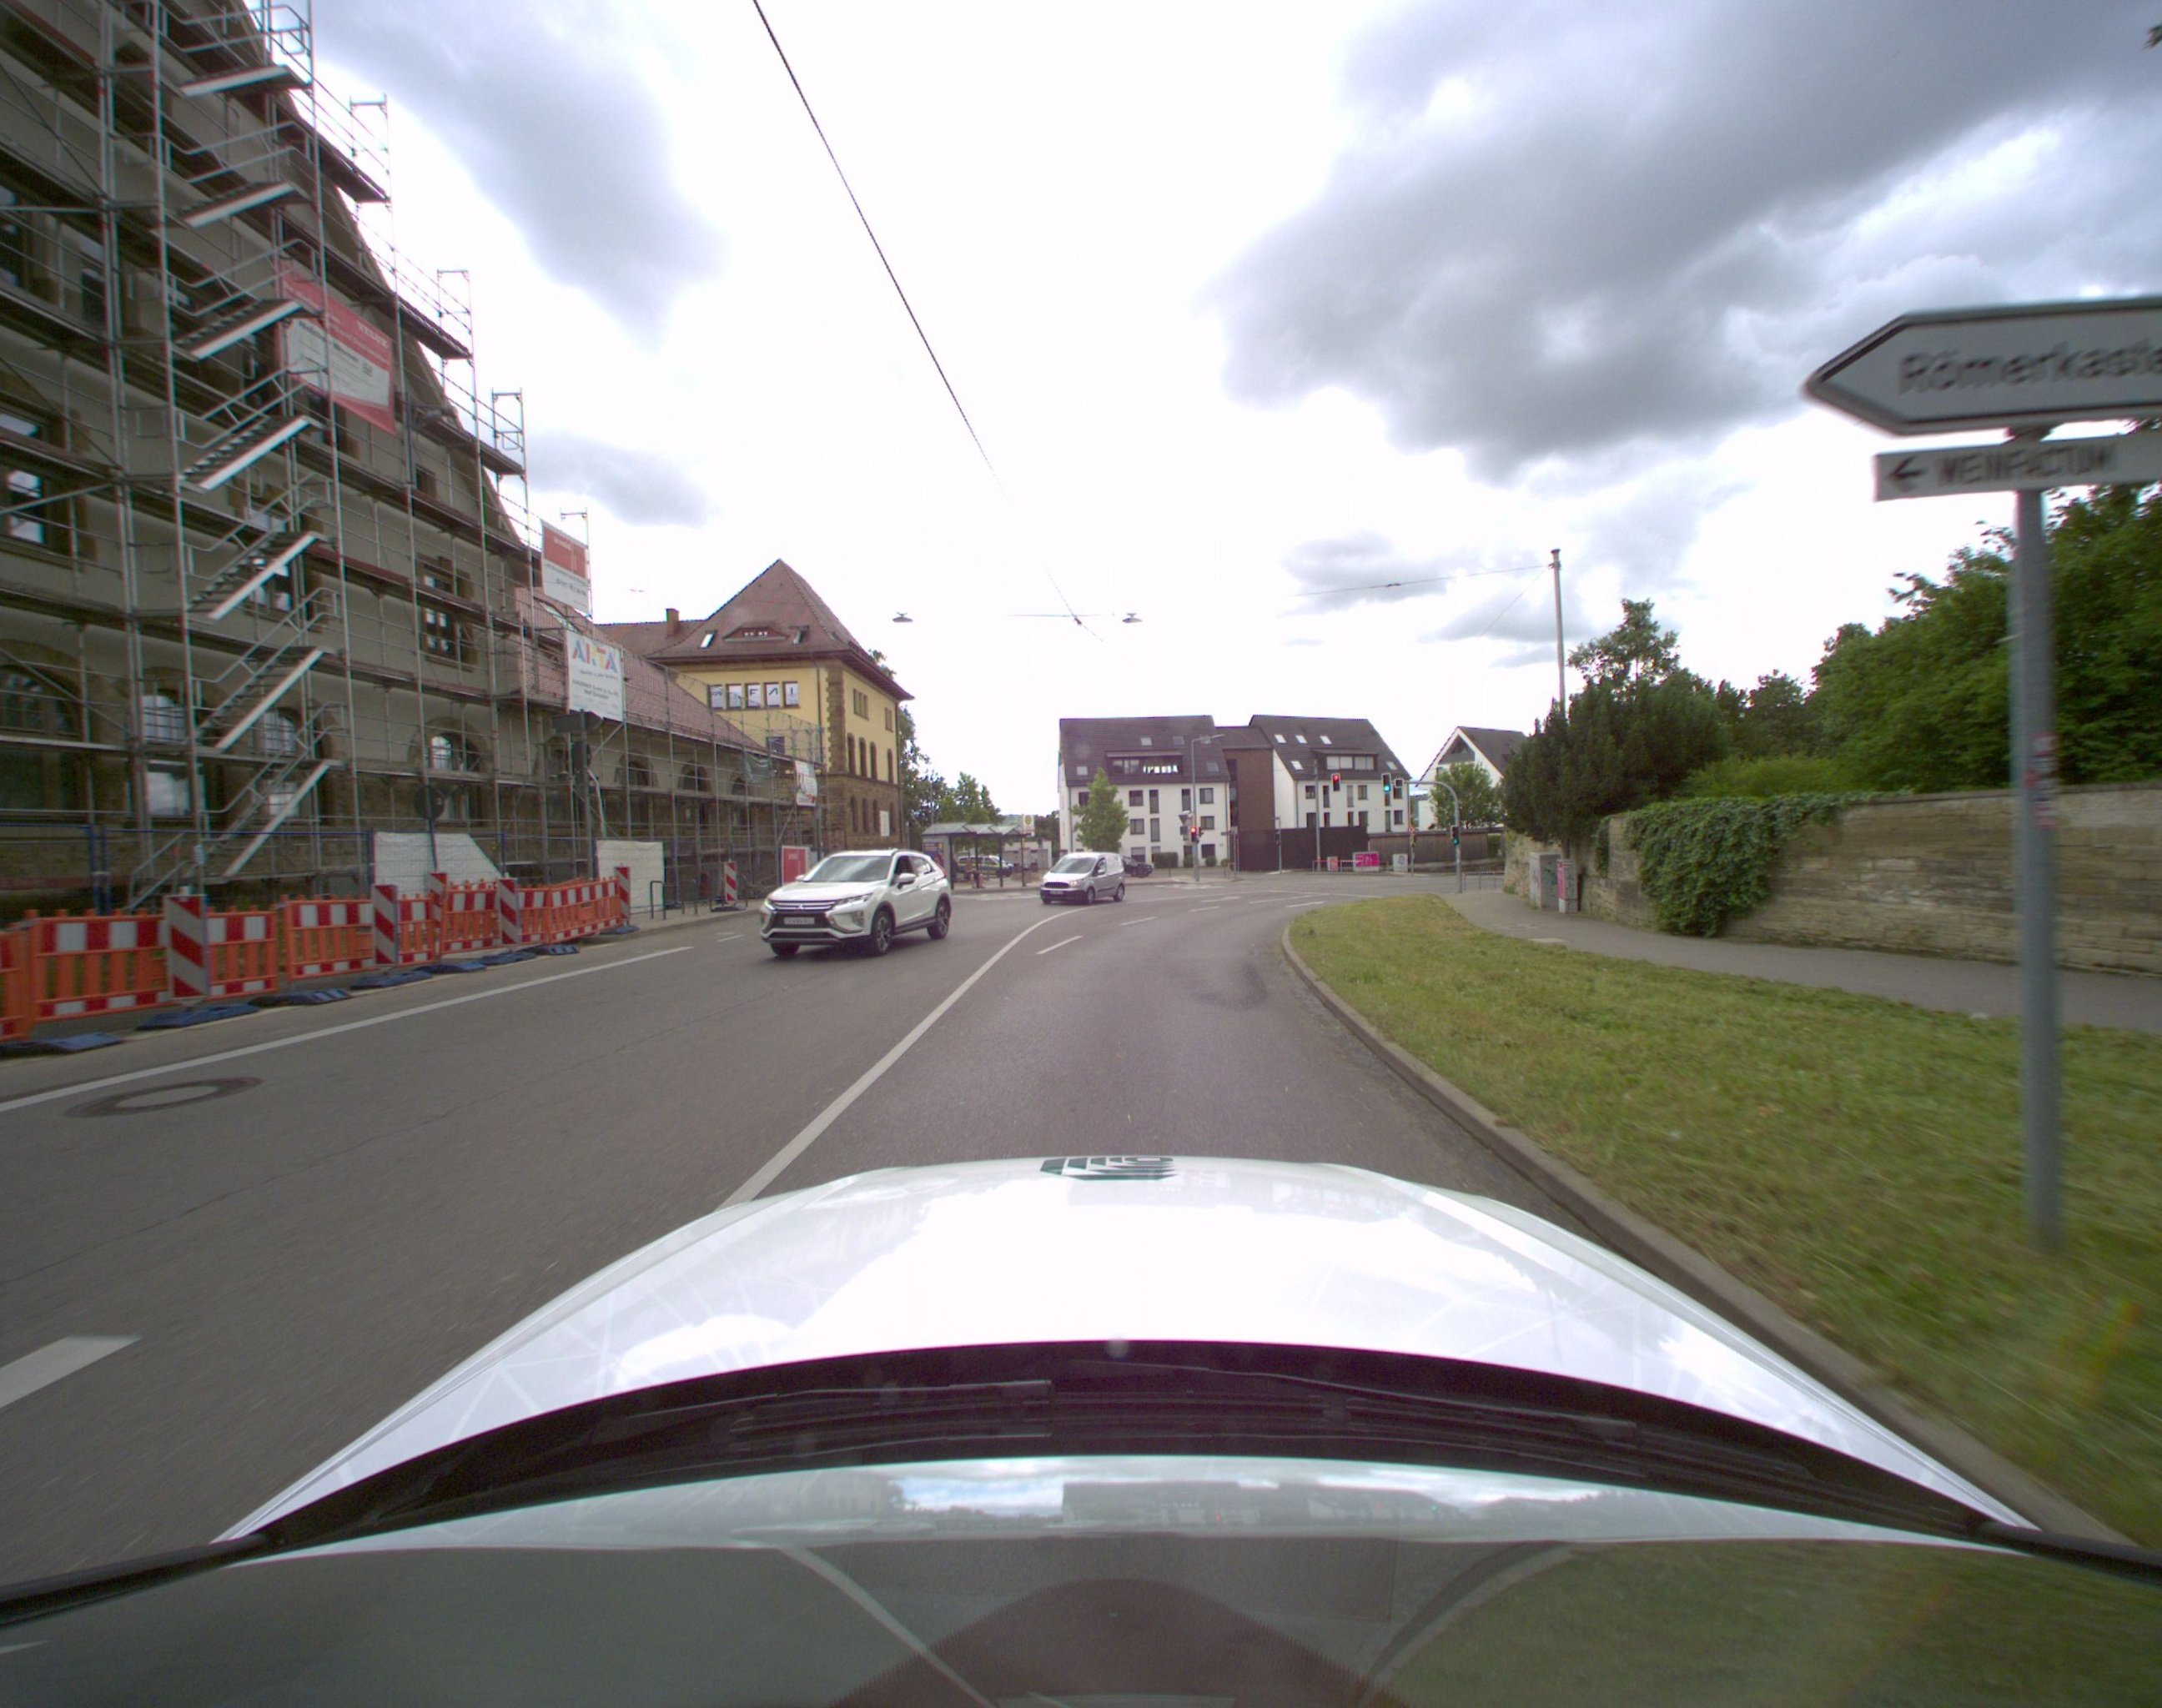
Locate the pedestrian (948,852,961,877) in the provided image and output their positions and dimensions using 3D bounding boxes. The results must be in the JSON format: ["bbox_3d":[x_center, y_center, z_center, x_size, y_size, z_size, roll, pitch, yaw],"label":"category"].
[{"bbox_3d":[-8.102,0.683,52.140,0.534,1.577,0.656,0,-1,16],"label":"pedestrian"}]

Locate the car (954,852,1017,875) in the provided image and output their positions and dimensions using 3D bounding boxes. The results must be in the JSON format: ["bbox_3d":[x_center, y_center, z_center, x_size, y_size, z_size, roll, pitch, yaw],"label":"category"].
[{"bbox_3d":[-8.236,0.808,70.482,5.044,2.014,2.005,0,-1,9],"label":"car"}]

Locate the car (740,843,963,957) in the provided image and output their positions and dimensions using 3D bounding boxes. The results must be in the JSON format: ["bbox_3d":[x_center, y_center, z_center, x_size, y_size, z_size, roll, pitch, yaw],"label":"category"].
[{"bbox_3d":[-3.648,0.667,13.952,1.780,1.611,4.522,-2,0,11],"label":"car"}]

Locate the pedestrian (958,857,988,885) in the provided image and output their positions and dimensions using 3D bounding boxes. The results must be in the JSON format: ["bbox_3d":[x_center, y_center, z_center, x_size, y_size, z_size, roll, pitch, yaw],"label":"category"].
[{"bbox_3d":[-4.641,0.716,35.021,0.923,1.192,0.911,0,-1,29],"label":"pedestrian"}]

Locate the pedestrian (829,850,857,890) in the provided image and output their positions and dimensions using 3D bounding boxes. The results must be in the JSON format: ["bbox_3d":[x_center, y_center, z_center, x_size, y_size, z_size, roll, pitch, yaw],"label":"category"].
[{"bbox_3d":[-10.180,0.686,34.911,0.919,1.720,0.799,0,-1,4],"label":"pedestrian"}]

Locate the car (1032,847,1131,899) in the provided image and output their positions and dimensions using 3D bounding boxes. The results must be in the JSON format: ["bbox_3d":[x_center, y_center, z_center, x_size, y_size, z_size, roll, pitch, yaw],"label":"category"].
[{"bbox_3d":[0.104,0.623,27.687,1.676,1.614,4.107,0,-1,27],"label":"car"}]

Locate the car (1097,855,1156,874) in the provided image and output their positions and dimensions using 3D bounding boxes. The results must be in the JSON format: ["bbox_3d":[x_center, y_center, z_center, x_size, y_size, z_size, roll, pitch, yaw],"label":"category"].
[{"bbox_3d":[3.566,0.813,64.439,4.218,1.513,2.013,0,-1,33],"label":"car"}]
